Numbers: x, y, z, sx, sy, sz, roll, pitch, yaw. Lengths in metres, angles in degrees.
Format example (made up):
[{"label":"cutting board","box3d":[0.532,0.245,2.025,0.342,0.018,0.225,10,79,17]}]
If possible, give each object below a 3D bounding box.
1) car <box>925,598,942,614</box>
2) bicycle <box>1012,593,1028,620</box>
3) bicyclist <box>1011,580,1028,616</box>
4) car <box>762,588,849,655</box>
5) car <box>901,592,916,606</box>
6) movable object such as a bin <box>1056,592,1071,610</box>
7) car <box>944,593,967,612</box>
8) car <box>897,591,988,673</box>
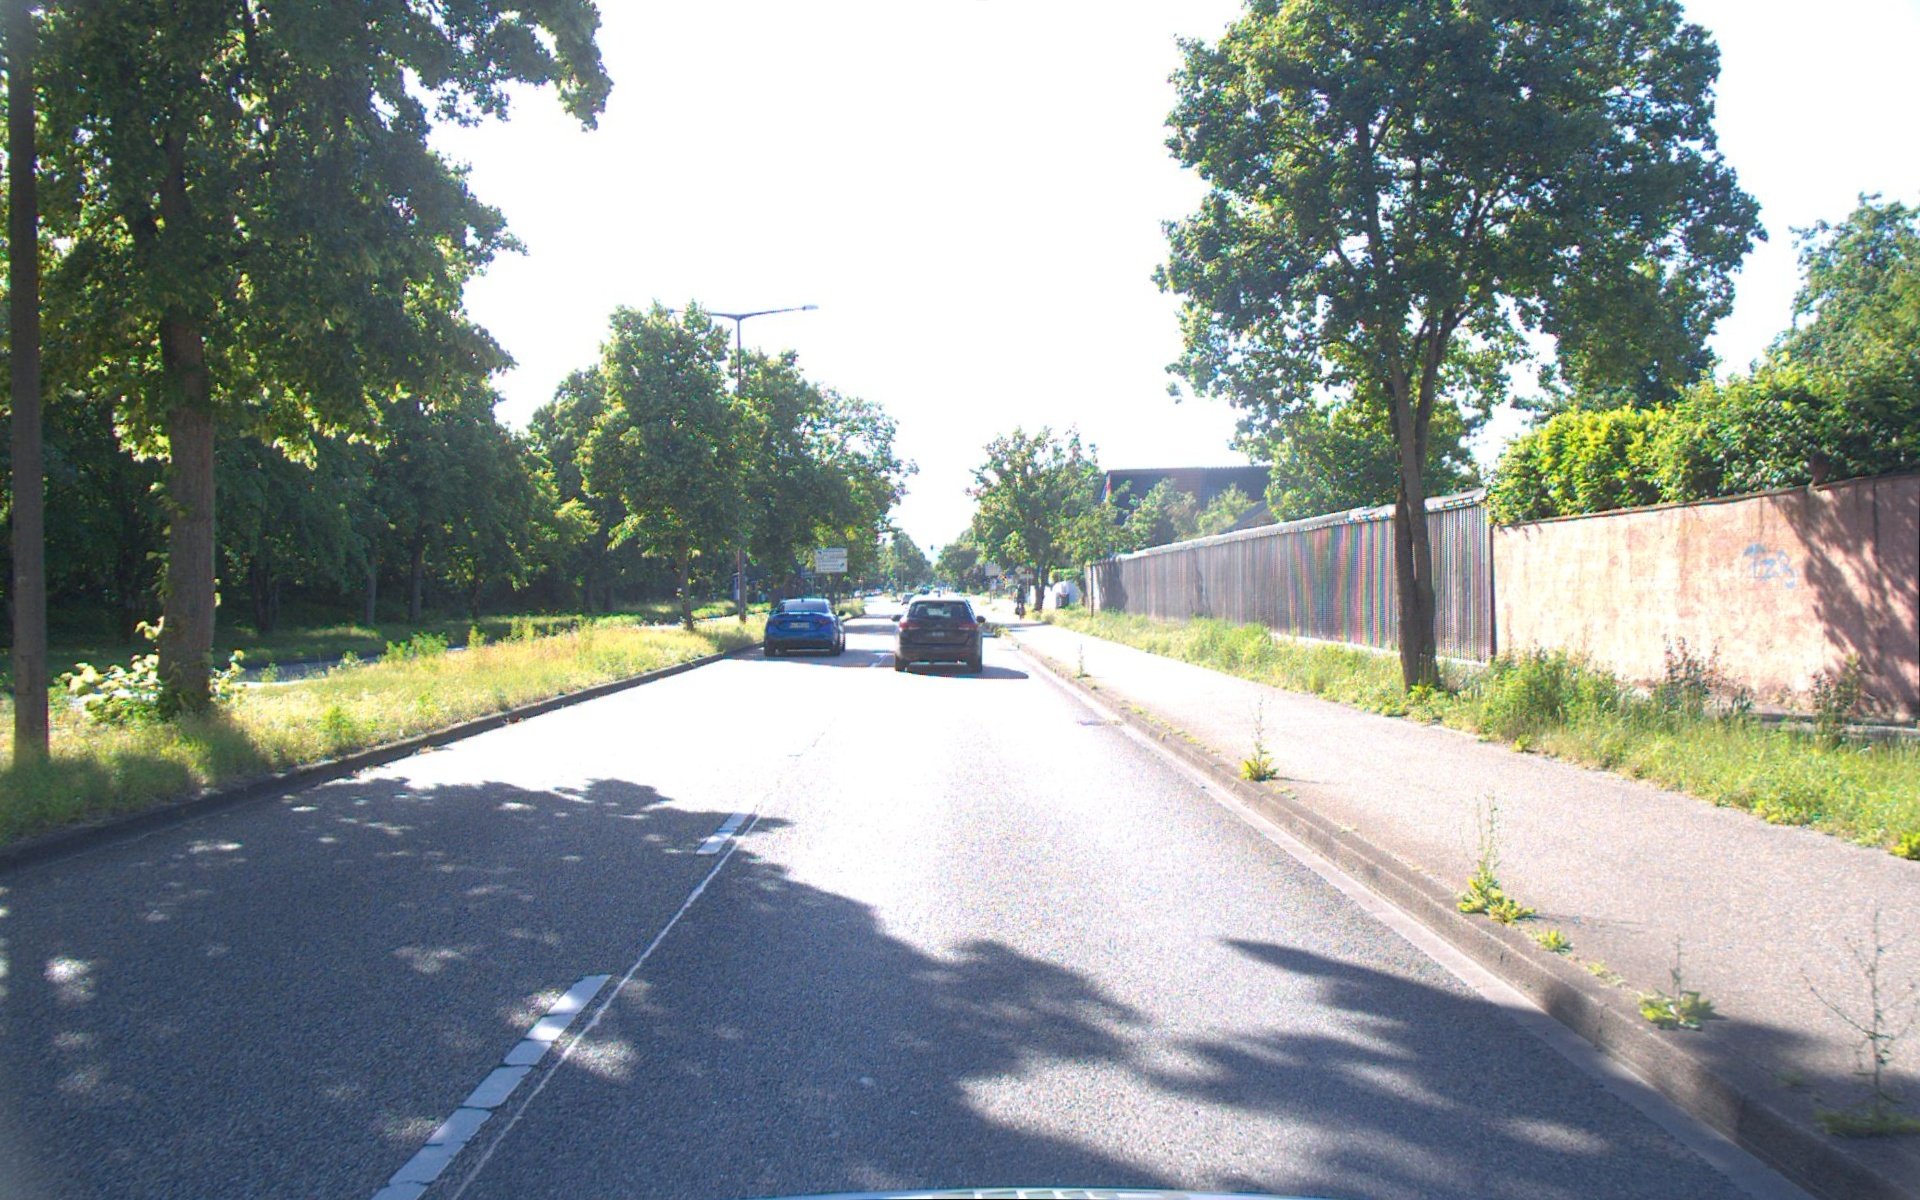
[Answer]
[{"label":"car","box3d":[-2.763,0.644,173.650,1.697,1.613,3.839,1,0,-1]},{"label":"bicycle","box3d":[2.875,0.304,78.985,0.562,1.175,2.142,-4,1,6]},{"label":"bicyclist","box3d":[2.837,-0.088,78.961,0.617,1.661,0.982,-4,1,6]},{"label":"car","box3d":[-3.862,0.522,41.959,1.850,1.579,3.999,-1,0,-1]},{"label":"car","box3d":[-6.202,-0.056,199.805,1.787,1.643,3.839,1,0,-1]},{"label":"movable object such as a bin","box3d":[7.514,0.060,120.307,0.980,1.226,1.063,-3,-1,6]},{"label":"car","box3d":[-0.355,0.206,133.110,1.696,1.485,3.841,-1,0,2]},{"label":"car","box3d":[-0.356,0.619,33.393,1.720,1.535,3.808,0,0,-1]}]
